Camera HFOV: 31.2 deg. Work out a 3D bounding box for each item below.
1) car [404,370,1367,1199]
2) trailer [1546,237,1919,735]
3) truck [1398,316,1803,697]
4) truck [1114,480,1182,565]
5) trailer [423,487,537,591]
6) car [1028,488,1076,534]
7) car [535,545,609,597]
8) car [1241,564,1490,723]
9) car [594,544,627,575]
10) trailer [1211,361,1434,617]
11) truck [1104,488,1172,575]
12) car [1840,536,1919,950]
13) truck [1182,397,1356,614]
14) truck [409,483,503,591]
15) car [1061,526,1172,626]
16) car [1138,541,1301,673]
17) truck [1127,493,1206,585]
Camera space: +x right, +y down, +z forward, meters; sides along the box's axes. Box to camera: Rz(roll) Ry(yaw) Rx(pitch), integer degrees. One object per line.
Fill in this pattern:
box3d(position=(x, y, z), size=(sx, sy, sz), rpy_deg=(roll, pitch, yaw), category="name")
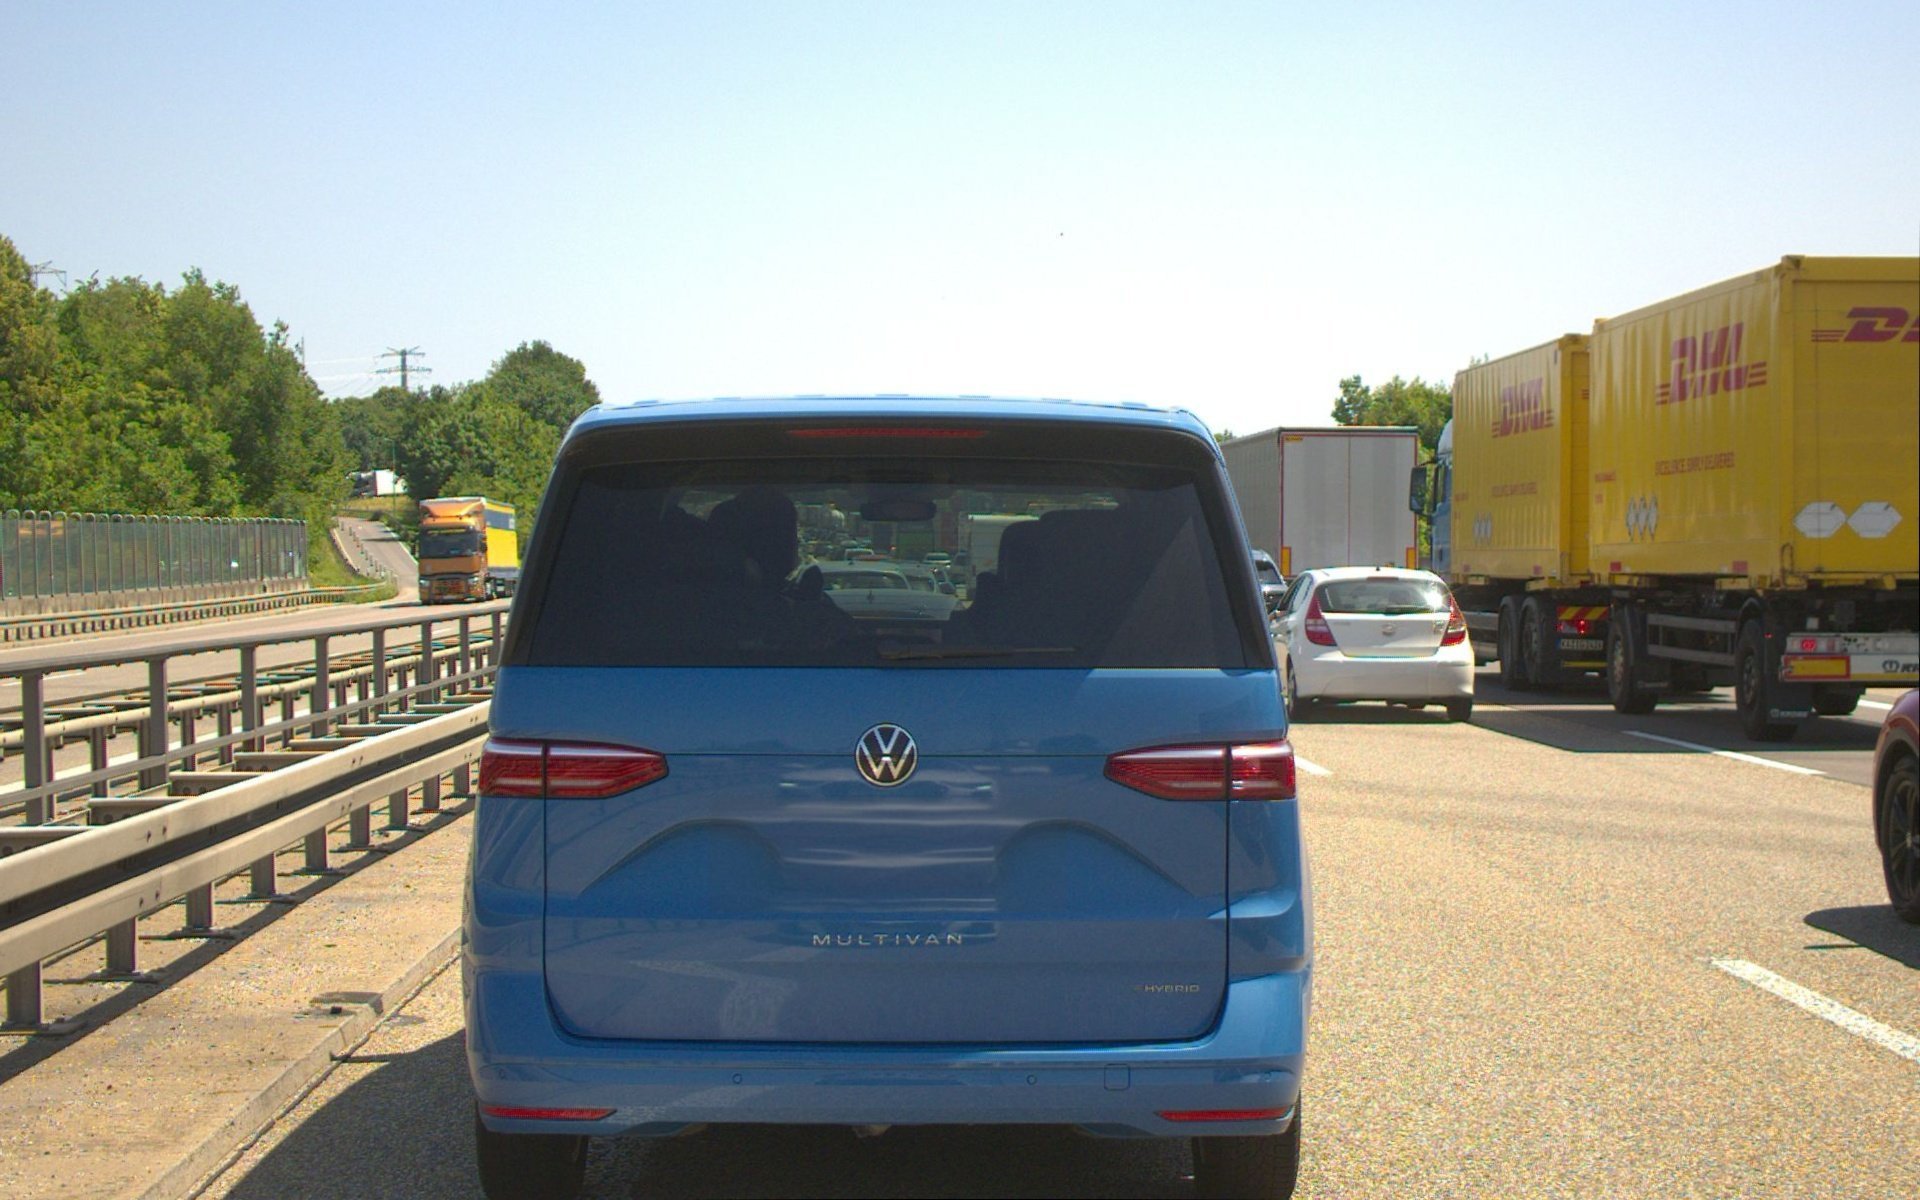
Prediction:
box3d(position=(-0.191, 0.476, 8.984), size=(1.930, 1.867, 4.000), rpy_deg=(1, 0, -1), category="car")
box3d(position=(7.897, -0.939, 32.742), size=(2.682, 4.074, 8.981), rpy_deg=(1, 0, -2), category="trailer")
box3d(position=(7.564, -1.027, 42.124), size=(2.699, 4.074, 9.940), rpy_deg=(1, 0, -2), category="truck")
box3d(position=(5.918, -2.419, 108.415), size=(1.797, 2.587, 4.305), rpy_deg=(1, 0, -1), category="truck")
box3d(position=(-19.927, -2.447, 143.419), size=(2.628, 4.100, 14.015), rpy_deg=(0, 0, 1), category="trailer")
box3d(position=(4.268, -4.121, 160.010), size=(1.993, 2.007, 4.000), rpy_deg=(1, 0, -1), category="car")
box3d(position=(-11.694, -0.889, 103.810), size=(1.762, 1.503, 4.223), rpy_deg=(-1, 1, 0), category="car")
box3d(position=(3.963, 0.405, 34.188), size=(1.815, 1.465, 3.932), rpy_deg=(1, 0, -3), category="car")
box3d(position=(-24.060, -2.796, 236.735), size=(1.842, 2.035, 3.943), rpy_deg=(1, 0, -1), category="car")
box3d(position=(6.988, -2.030, 67.939), size=(3.026, 4.595, 10.925), rpy_deg=(1, 0, -1), category="trailer")
box3d(position=(5.369, -2.052, 103.890), size=(1.742, 2.540, 4.210), rpy_deg=(1, 0, -1), category="truck")
box3d(position=(4.777, 0.572, 12.795), size=(1.708, 1.673, 4.285), rpy_deg=(0, 0, -3), category="car")
box3d(position=(6.856, -2.034, 77.366), size=(3.026, 4.595, 7.921), rpy_deg=(1, 0, -1), category="truck")
box3d(position=(-19.987, -2.453, 136.654), size=(2.672, 4.171, 6.287), rpy_deg=(-1, 0, 1), category="truck")
box3d(position=(3.137, -0.477, 69.520), size=(1.962, 1.929, 3.932), rpy_deg=(1, 0, -1), category="car")
box3d(position=(3.452, 0.083, 46.339), size=(1.815, 1.673, 3.932), rpy_deg=(1, 0, -1), category="car")
box3d(position=(5.674, -1.657, 95.002), size=(1.798, 2.441, 4.504), rpy_deg=(1, 0, -1), category="truck")
